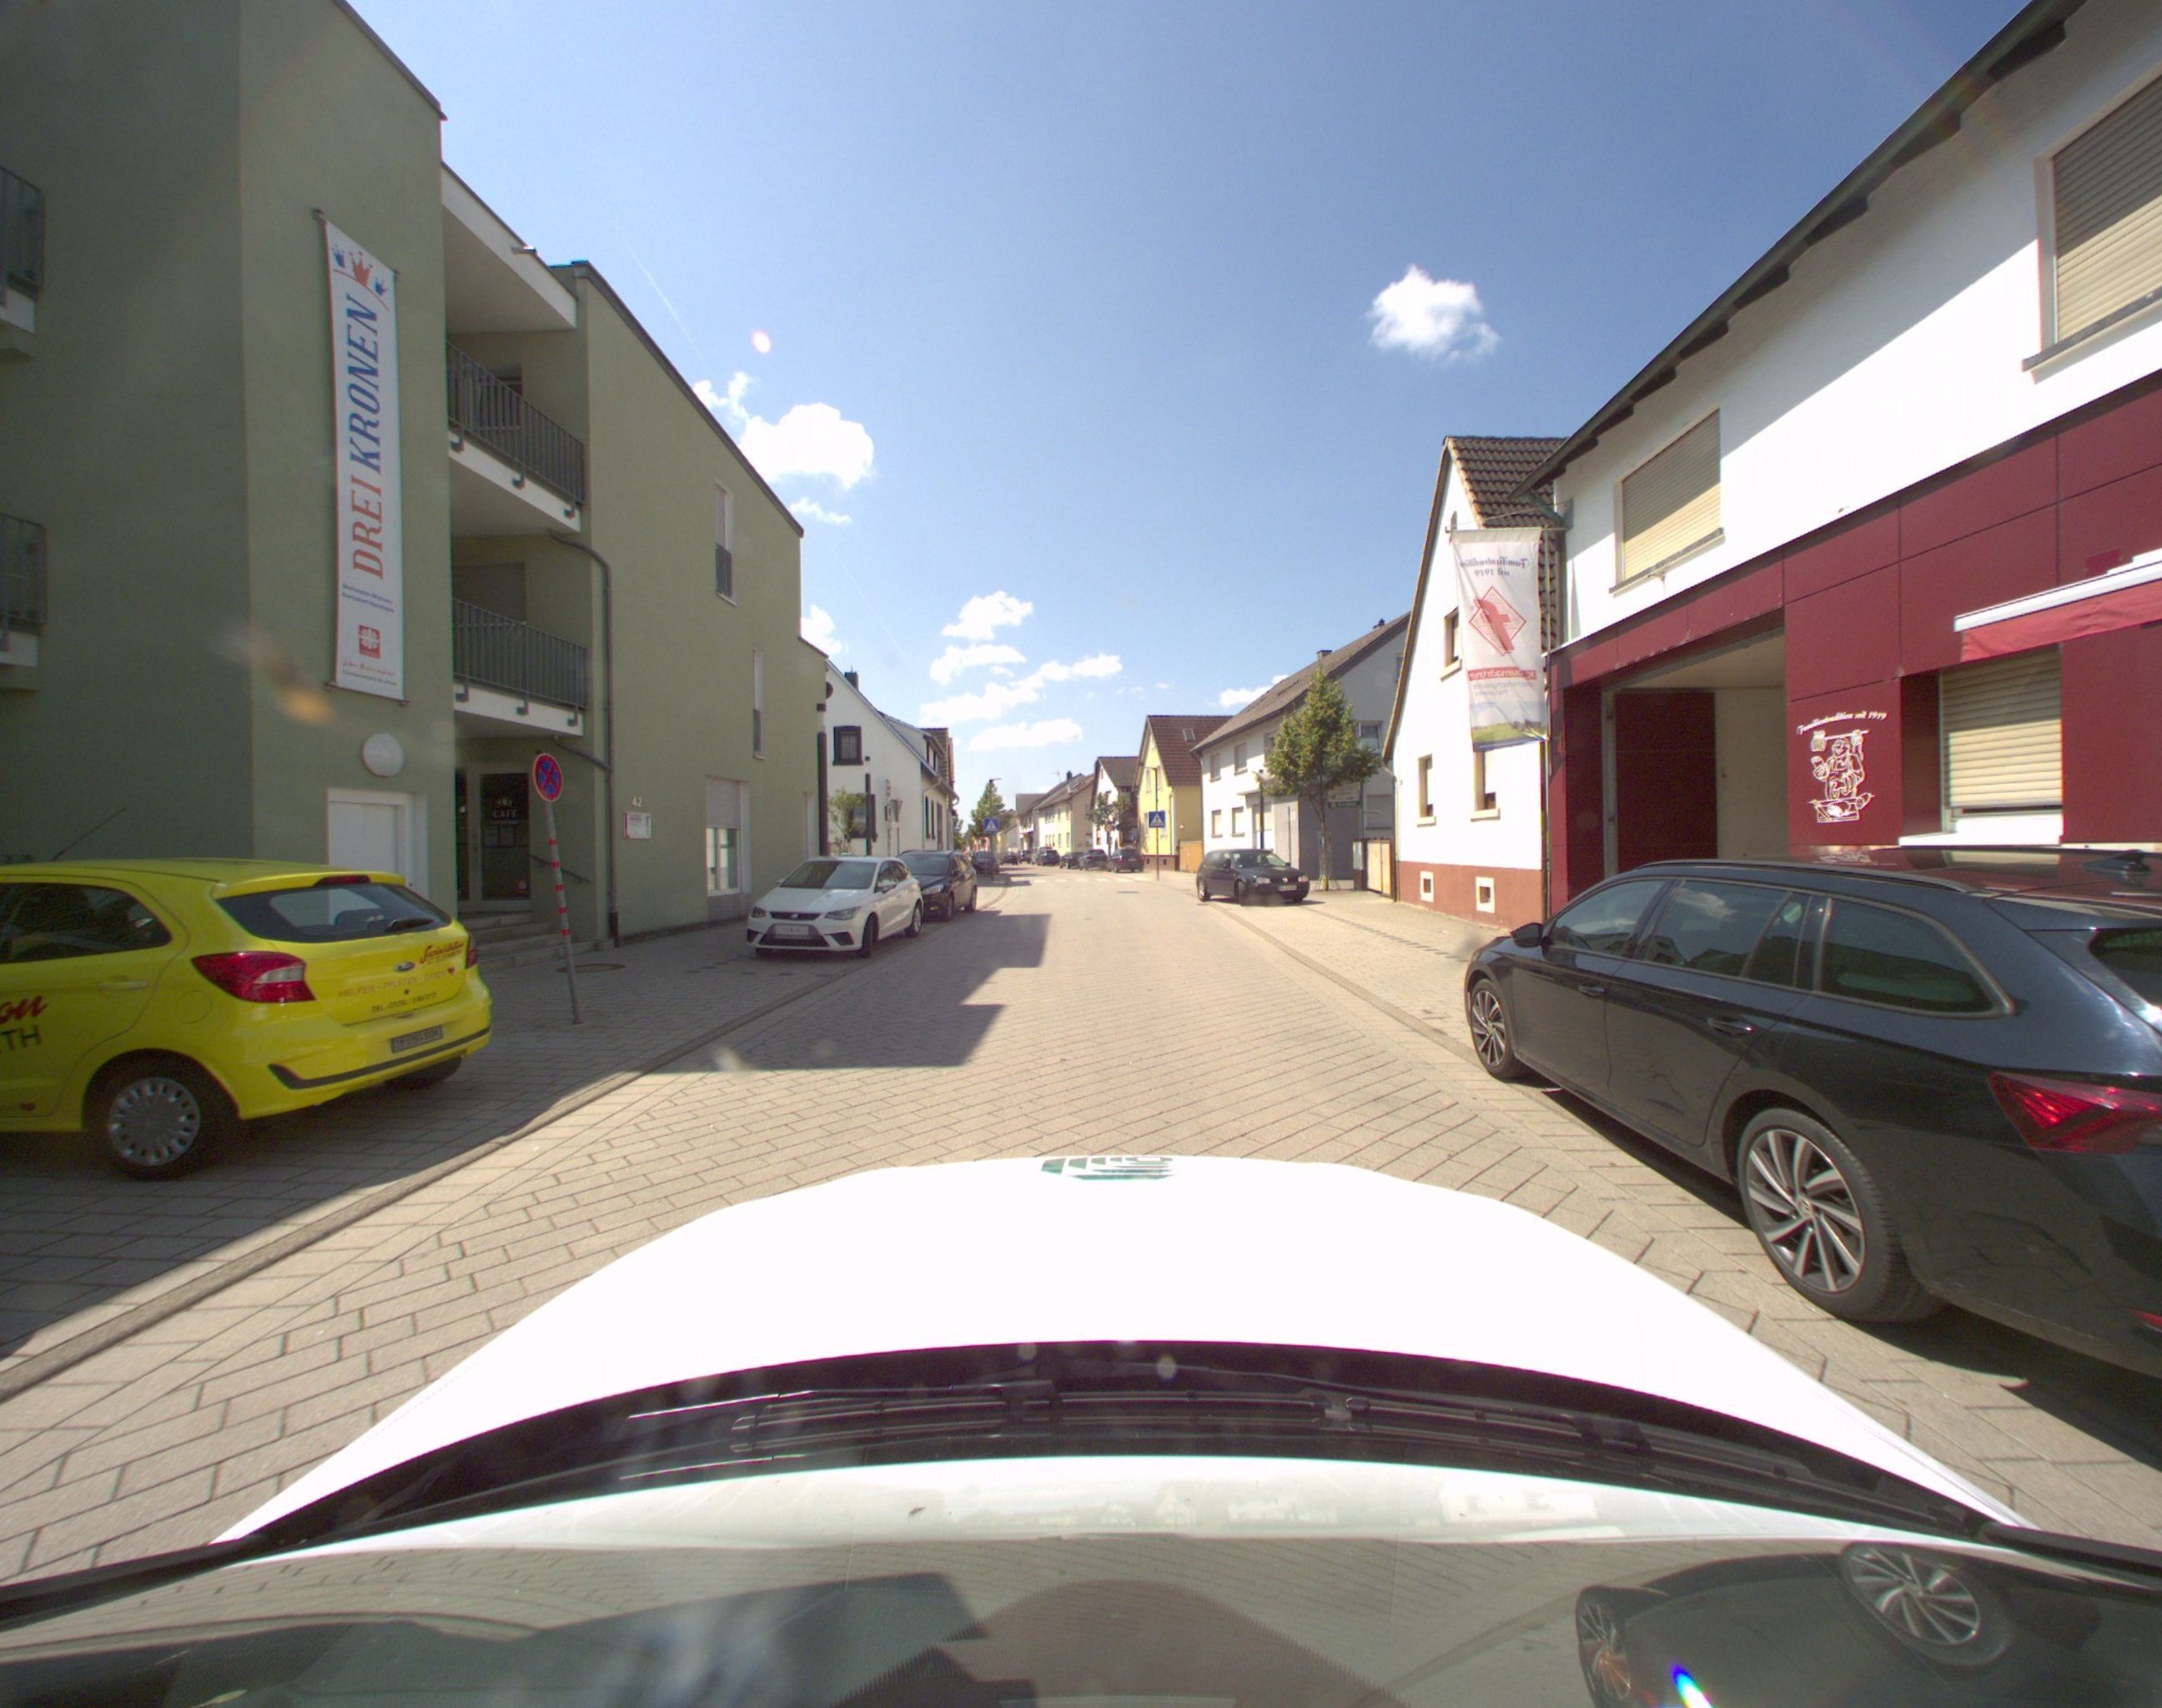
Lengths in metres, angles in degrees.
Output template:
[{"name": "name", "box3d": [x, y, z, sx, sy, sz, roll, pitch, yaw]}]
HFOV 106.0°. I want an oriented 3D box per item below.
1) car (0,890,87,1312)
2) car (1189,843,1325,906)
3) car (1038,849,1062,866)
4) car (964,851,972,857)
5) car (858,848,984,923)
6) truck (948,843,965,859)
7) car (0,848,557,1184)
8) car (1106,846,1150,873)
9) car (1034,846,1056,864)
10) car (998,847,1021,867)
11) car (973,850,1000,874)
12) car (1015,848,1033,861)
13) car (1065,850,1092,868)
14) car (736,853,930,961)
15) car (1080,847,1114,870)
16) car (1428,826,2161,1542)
[{"name": "car", "box3d": [-5.736, 0.814, 2.253, 3.971, 1.441, 1.692, 2, 0, 2]}, {"name": "car", "box3d": [4.496, 0.486, 21.454, 1.763, 1.438, 4.097, -3, 1, -16]}, {"name": "car", "box3d": [-3.093, 0.311, 81.241, 1.877, 1.591, 3.988, -2, 1, -9]}, {"name": "car", "box3d": [-28.690, 0.051, 206.786, 1.689, 1.452, 3.778, -2, 1, -11]}, {"name": "car", "box3d": [-3.487, 0.616, 18.583, 1.806, 1.490, 4.281, 0, 1, 3]}, {"name": "truck", "box3d": [-30.883, -0.769, 201.754, 3.567, 3.953, 8.547, -2, 1, -12]}, {"name": "car", "box3d": [-5.474, 0.768, 4.810, 3.676, 1.525, 1.674, 1, 1, 3]}, {"name": "car", "box3d": [2.883, 0.320, 50.822, 1.829, 1.471, 4.263, -4, 0, -9]}, {"name": "car", "box3d": [-3.872, 0.084, 86.984, 1.906, 1.871, 3.988, -2, 1, -9]}, {"name": "car", "box3d": [-7.615, 0.289, 86.205, 1.993, 2.057, 4.360, -2, 1, -9]}, {"name": "car", "box3d": [-6.381, 0.506, 55.335, 1.745, 1.530, 3.992, 0, 0, -6]}, {"name": "car", "box3d": [-6.761, 0.012, 95.702, 1.754, 1.492, 3.988, -2, 1, -9]}, {"name": "car", "box3d": [-0.238, 0.424, 67.835, 1.710, 1.387, 3.694, -2, 1, -9]}, {"name": "car", "box3d": [-3.787, 0.726, 13.164, 1.750, 1.411, 3.881, 1, 1, 3]}, {"name": "car", "box3d": [1.129, 0.301, 60.245, 1.846, 1.562, 3.682, -2, 1, -9]}, {"name": "car", "box3d": [3.412, 0.661, 3.941, 1.849, 1.459, 4.593, -3, 0, 6]}]
